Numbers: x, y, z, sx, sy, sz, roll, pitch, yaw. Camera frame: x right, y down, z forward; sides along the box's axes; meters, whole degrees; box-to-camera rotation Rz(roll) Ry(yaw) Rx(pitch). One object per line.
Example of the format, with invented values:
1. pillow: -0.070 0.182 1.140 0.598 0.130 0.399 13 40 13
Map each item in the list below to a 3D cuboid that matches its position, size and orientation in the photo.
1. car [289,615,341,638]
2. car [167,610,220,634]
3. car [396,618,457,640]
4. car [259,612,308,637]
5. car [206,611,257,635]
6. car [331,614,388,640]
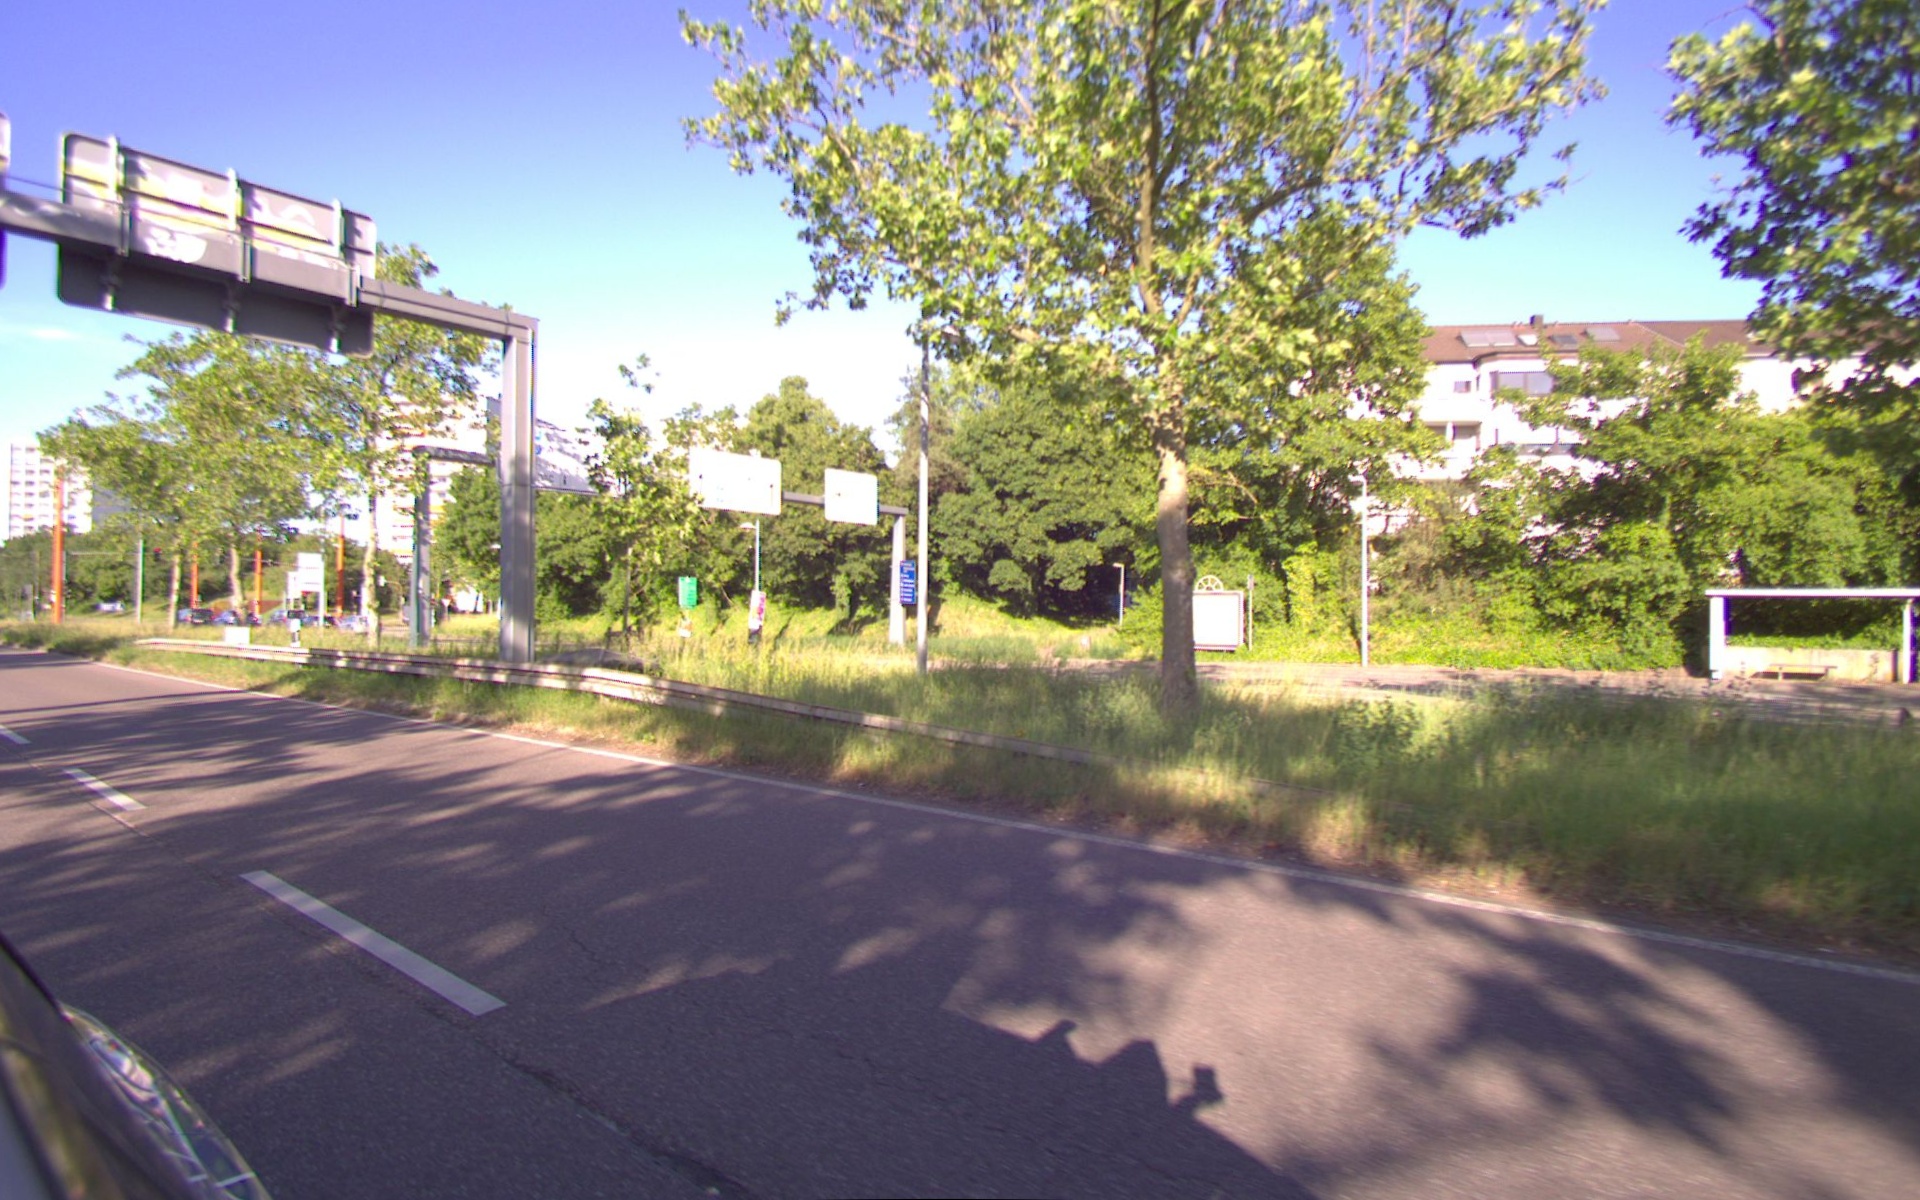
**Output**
1. car: -45.839 1.889 71.897 4.562 1.486 1.879 -1 -4 41
2. car: -51.841 1.505 68.462 4.562 1.577 1.879 -1 -4 41
3. car: -56.683 3.067 107.692 2.032 2.221 5.606 -1 -1 29
4. car: -50.854 1.825 76.022 4.443 1.789 1.879 -1 -4 41
5. car: -52.335 1.656 72.679 4.562 1.623 1.879 -1 -4 41
6. car: -40.094 1.793 67.568 4.562 1.623 1.879 -1 -4 41
